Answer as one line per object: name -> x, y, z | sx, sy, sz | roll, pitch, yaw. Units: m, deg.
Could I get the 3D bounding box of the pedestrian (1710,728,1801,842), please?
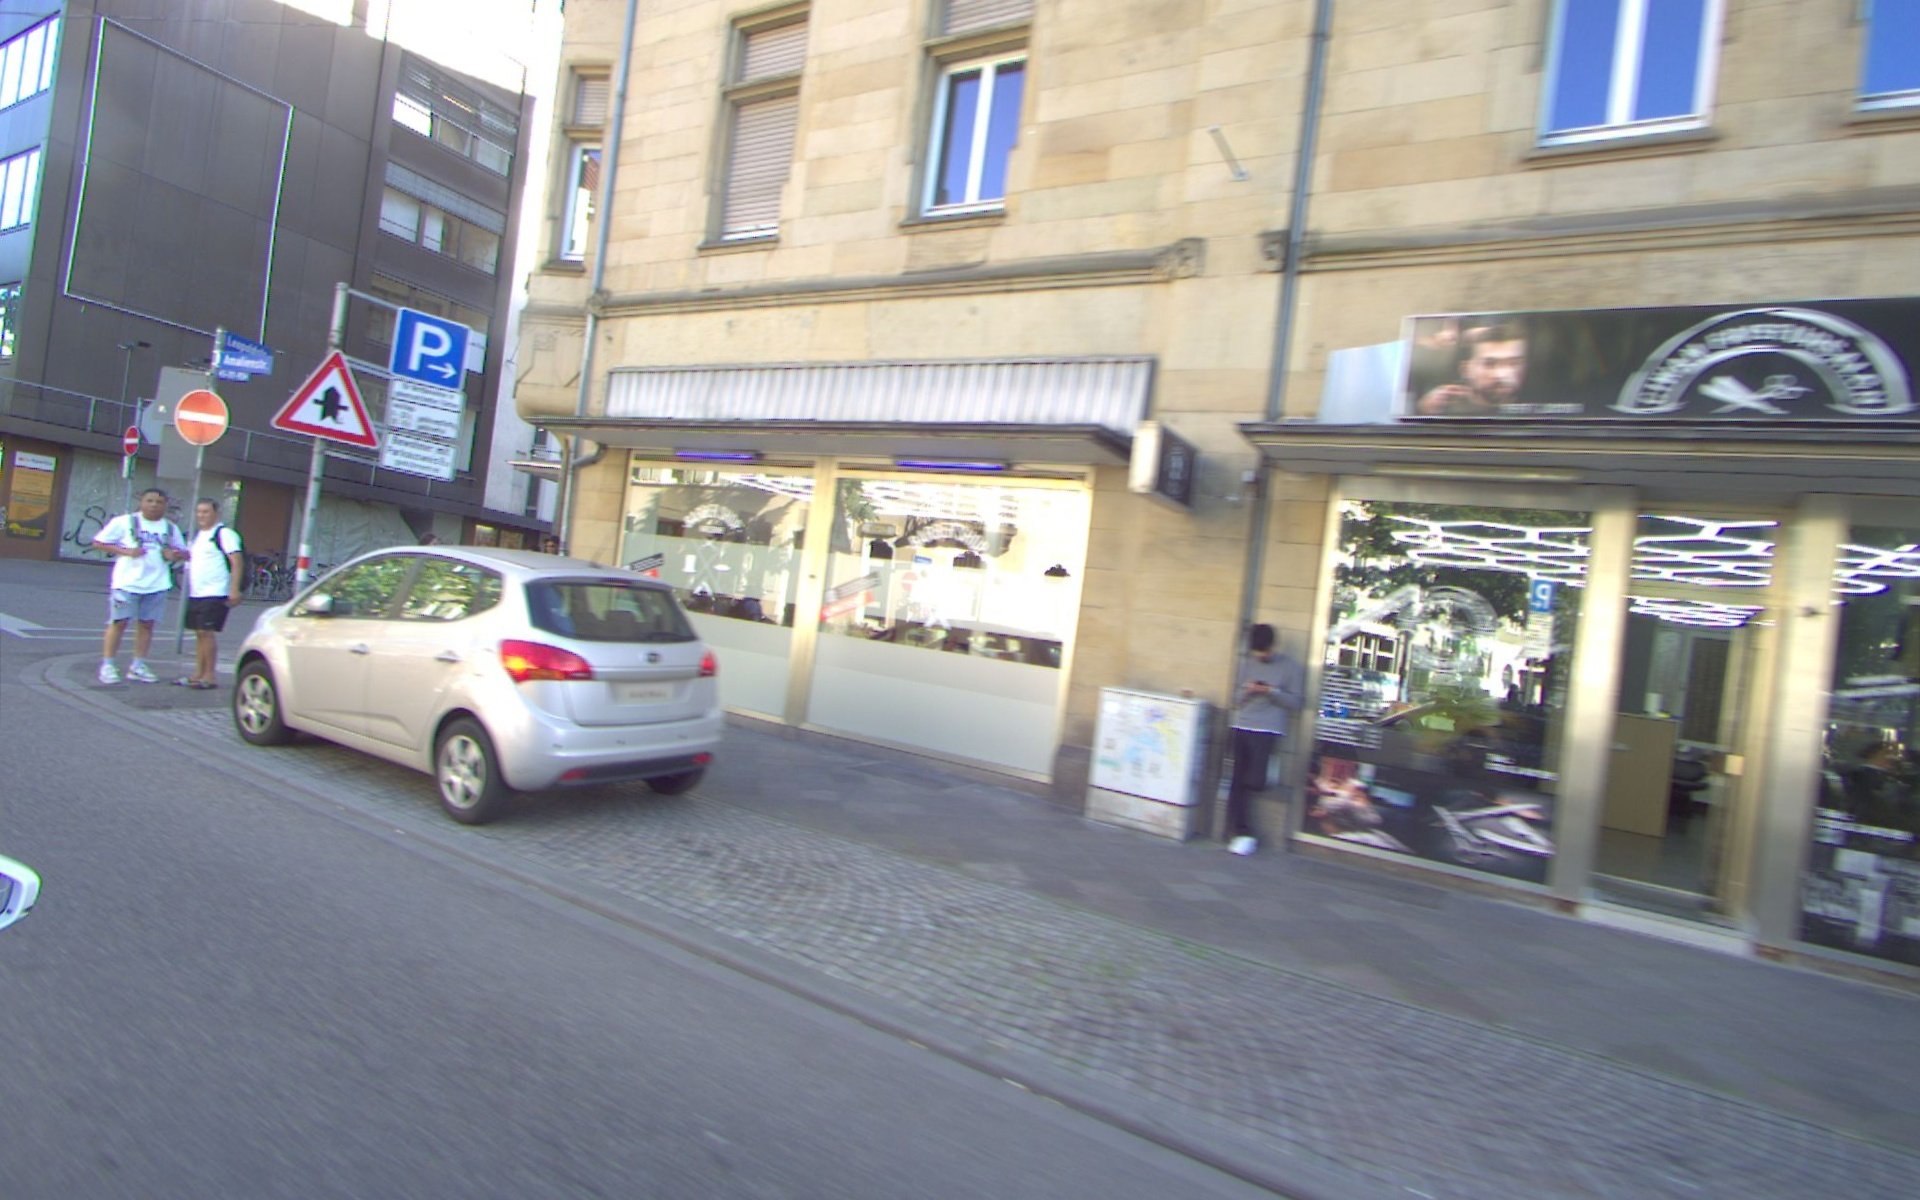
pedestrian -> 9.767, 2.262, 12.371 | 0.537, 1.258, 0.532 | 6, 2, -1

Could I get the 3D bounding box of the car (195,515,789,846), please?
car -> -3.519, 0.408, 7.403 | 4.058, 1.594, 1.975 | 7, 1, 32

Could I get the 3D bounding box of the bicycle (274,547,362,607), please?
bicycle -> -15.823, -0.554, 24.810 | 1.714, 1.145, 0.574 | 11, 0, 6

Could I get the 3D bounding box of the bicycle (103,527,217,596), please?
bicycle -> -16.833, -0.794, 21.198 | 1.715, 1.175, 0.572 | 8, 0, -8

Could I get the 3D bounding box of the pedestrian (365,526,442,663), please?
pedestrian -> -7.395, -0.065, 13.404 | 0.609, 1.712, 0.673 | 6, 0, -15

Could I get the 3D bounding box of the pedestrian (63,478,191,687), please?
pedestrian -> -7.450, -0.156, 9.035 | 0.688, 1.741, 0.887 | 5, 2, -34

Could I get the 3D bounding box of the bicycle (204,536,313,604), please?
bicycle -> -16.190, -0.690, 23.223 | 1.981, 1.175, 0.573 | 11, 0, 3

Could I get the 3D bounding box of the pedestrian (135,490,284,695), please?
pedestrian -> -6.831, -0.065, 9.184 | 0.681, 1.741, 0.698 | 6, 2, 8

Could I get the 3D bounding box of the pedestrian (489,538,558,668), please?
pedestrian -> -6.119, 0.035, 14.085 | 0.613, 1.712, 0.710 | 8, -1, -31

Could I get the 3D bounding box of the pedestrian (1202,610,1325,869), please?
pedestrian -> 2.253, 1.005, 7.442 | 0.587, 1.763, 0.536 | 7, -1, 27

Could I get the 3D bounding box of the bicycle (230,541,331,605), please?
bicycle -> -16.133, -0.638, 23.903 | 1.892, 1.145, 0.573 | 11, 0, 3

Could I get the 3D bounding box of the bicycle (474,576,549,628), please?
bicycle -> -11.544, 0.078, 25.989 | 0.656, 1.171, 1.946 | 7, -2, 10

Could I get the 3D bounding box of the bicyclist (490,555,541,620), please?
bicyclist -> -11.487, -0.311, 26.024 | 0.656, 1.543, 0.891 | 7, -1, 10

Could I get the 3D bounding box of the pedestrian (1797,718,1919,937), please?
pedestrian -> 7.060, 1.686, 7.574 | 0.685, 1.442, 0.811 | 6, 2, -22

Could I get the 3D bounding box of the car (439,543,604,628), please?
car -> -12.932, -0.339, 30.088 | 2.078, 1.951, 4.958 | 8, -2, 7

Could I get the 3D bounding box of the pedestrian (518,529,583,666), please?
pedestrian -> -5.409, -0.035, 13.267 | 0.494, 1.712, 0.710 | 8, -1, -31
